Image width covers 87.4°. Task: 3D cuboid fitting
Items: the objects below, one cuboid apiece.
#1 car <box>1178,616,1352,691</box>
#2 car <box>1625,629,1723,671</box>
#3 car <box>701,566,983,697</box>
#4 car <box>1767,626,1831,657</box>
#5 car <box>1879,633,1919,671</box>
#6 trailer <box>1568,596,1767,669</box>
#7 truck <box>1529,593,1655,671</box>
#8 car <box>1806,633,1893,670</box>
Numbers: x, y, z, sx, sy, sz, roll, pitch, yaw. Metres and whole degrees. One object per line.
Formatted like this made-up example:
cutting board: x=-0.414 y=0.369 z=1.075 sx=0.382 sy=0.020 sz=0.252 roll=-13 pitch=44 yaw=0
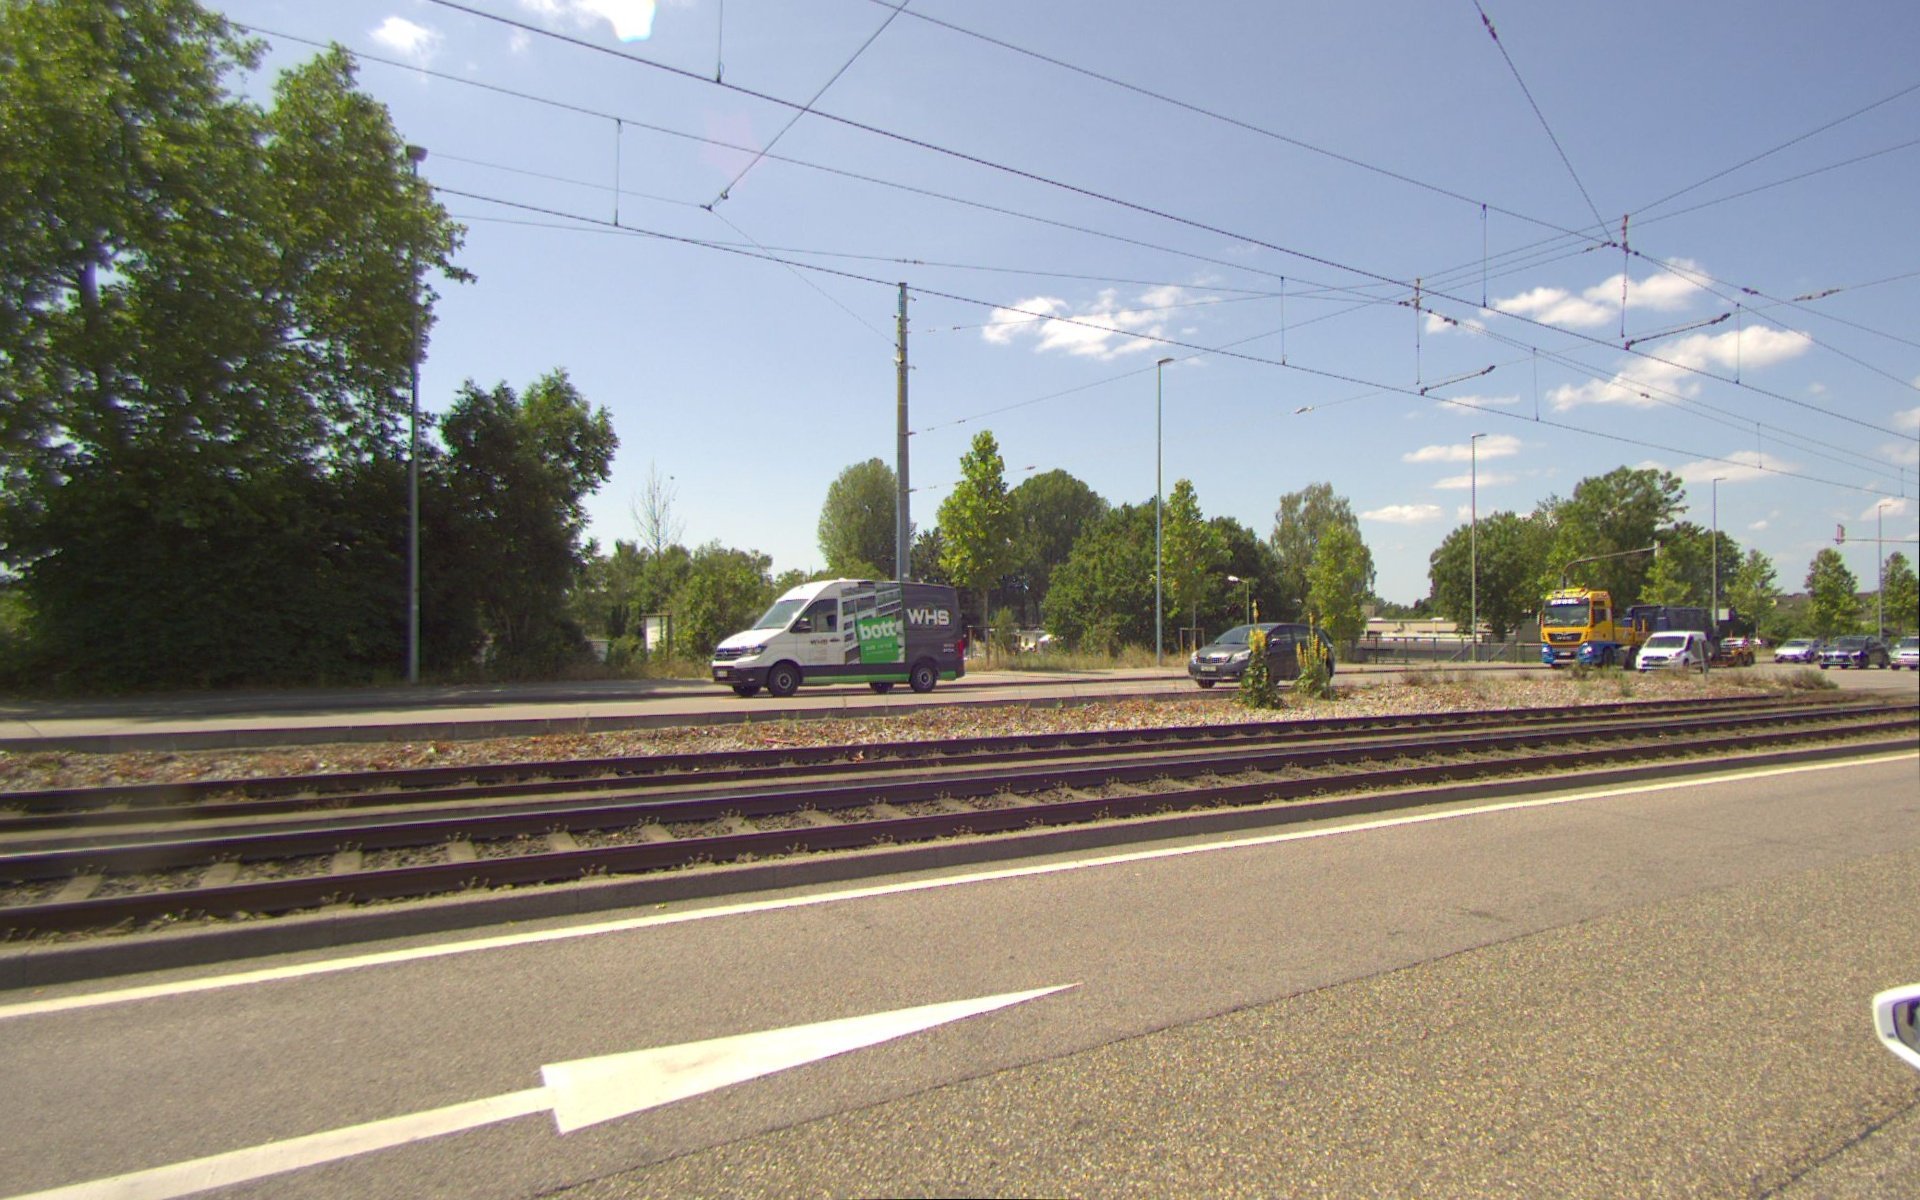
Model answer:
car: x=7.750 y=1.309 z=25.368 sx=4.414 sy=1.692 sz=1.811 roll=1 pitch=0 yaw=-34
car: x=31.279 y=2.151 z=43.988 sx=4.407 sy=1.692 sz=1.814 roll=1 pitch=0 yaw=-30
car: x=-2.566 y=0.740 z=22.982 sx=6.180 sy=2.623 sz=2.226 roll=1 pitch=-3 yaw=-38
car: x=51.990 y=2.547 z=62.254 sx=3.953 sy=1.842 sz=1.793 roll=1 pitch=0 yaw=-30
car: x=46.594 y=2.513 z=48.571 sx=4.406 sy=1.692 sz=1.815 roll=1 pitch=0 yaw=-28
trailer: x=38.483 y=1.777 z=54.227 sx=15.696 sy=3.565 sz=2.753 roll=2 pitch=0 yaw=-31
truck: x=31.459 y=1.574 z=49.954 sx=6.366 sy=3.616 sz=2.753 roll=2 pitch=0 yaw=-31
car: x=44.846 y=2.566 z=50.626 sx=4.405 sy=1.692 sz=1.815 roll=1 pitch=0 yaw=-28
